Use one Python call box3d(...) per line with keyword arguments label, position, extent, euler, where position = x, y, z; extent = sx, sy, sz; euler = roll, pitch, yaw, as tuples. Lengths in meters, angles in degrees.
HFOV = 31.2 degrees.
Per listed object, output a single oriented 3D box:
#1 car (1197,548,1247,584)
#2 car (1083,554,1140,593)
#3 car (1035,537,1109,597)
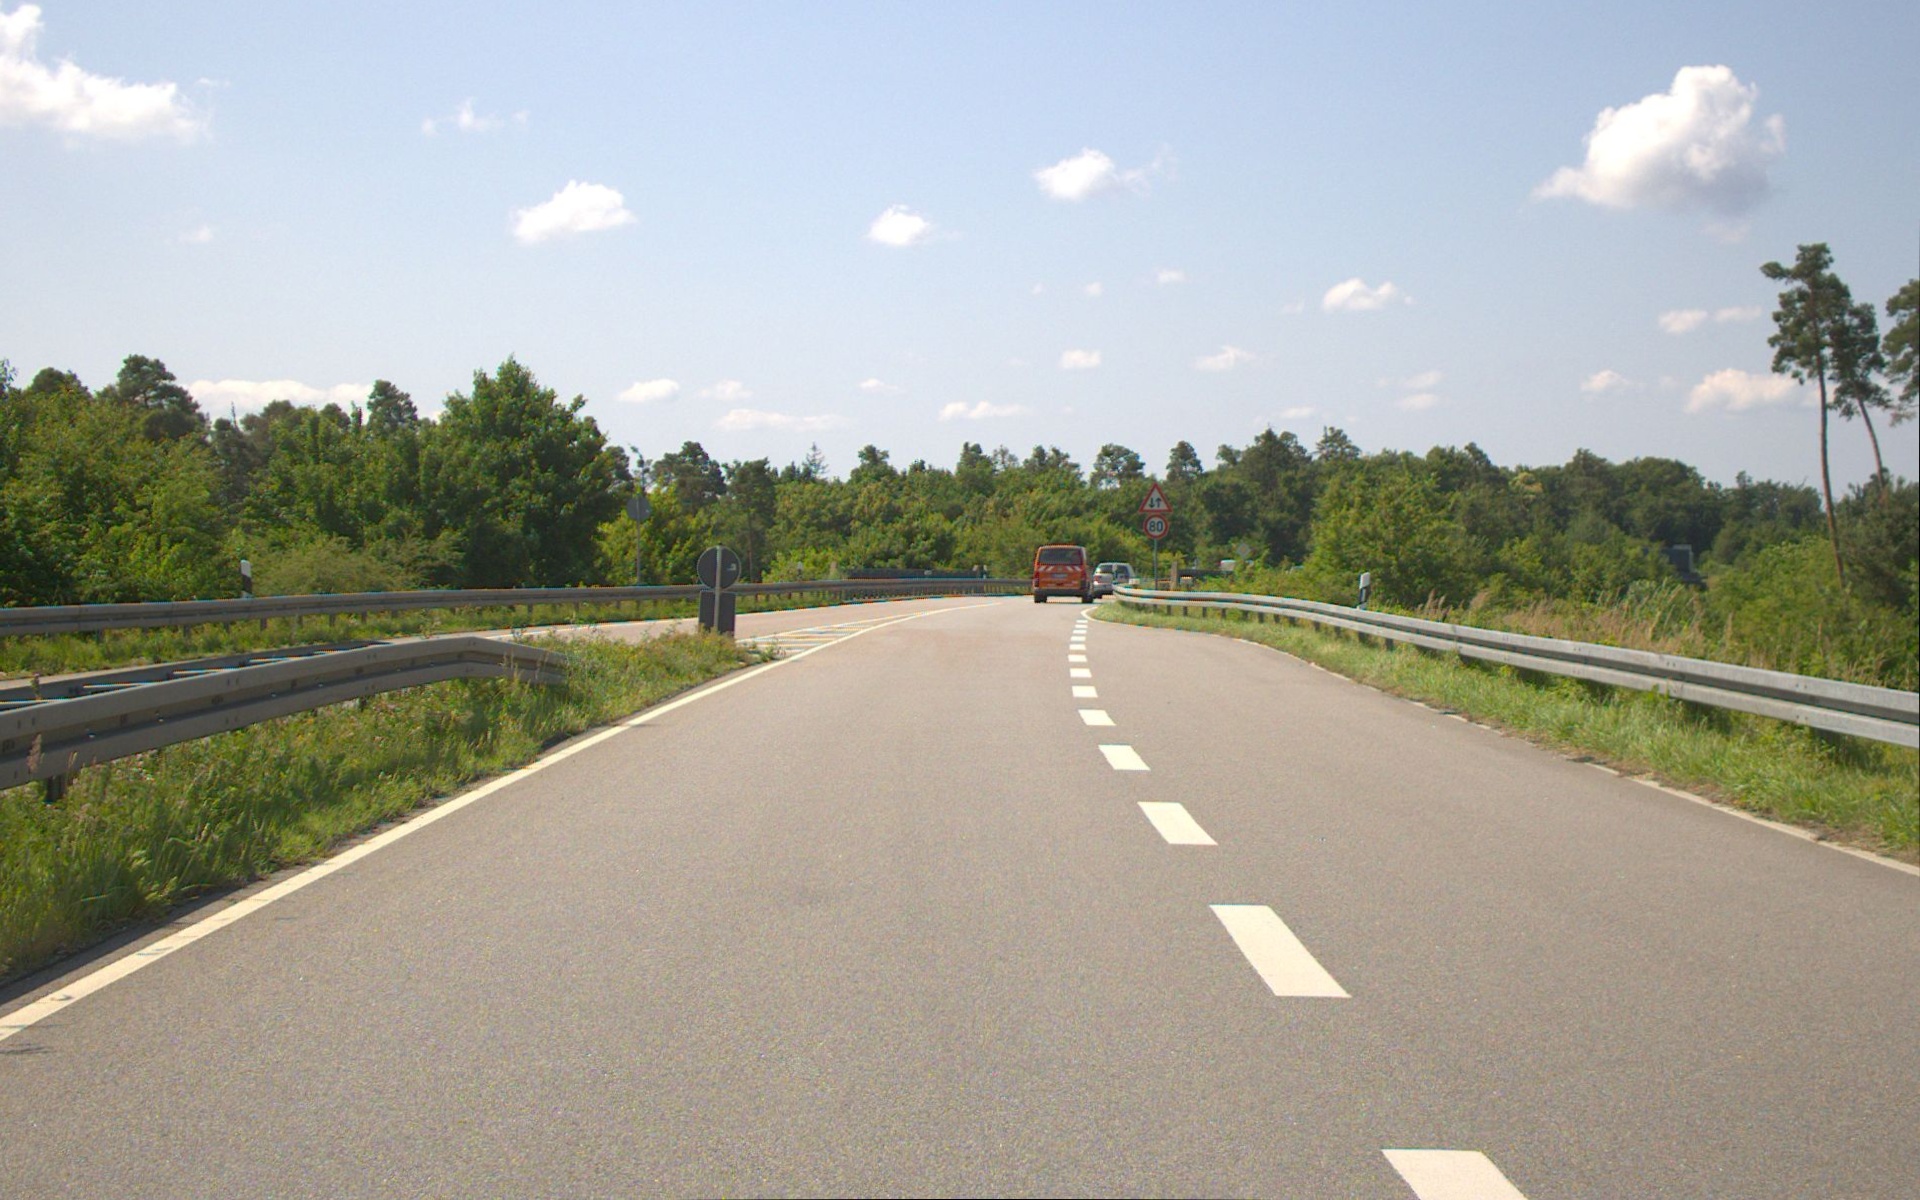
box3d(label="car", position=(14.864, -1.899, 194.911), extent=(2.186, 1.948, 5.801), euler=(1, 0, 10))
box3d(label="car", position=(6.189, -1.072, 139.811), extent=(2.008, 1.489, 4.237), euler=(1, 0, 6))
box3d(label="car", position=(3.871, -1.116, 118.121), extent=(2.078, 1.986, 5.110), euler=(1, 0, 7))
